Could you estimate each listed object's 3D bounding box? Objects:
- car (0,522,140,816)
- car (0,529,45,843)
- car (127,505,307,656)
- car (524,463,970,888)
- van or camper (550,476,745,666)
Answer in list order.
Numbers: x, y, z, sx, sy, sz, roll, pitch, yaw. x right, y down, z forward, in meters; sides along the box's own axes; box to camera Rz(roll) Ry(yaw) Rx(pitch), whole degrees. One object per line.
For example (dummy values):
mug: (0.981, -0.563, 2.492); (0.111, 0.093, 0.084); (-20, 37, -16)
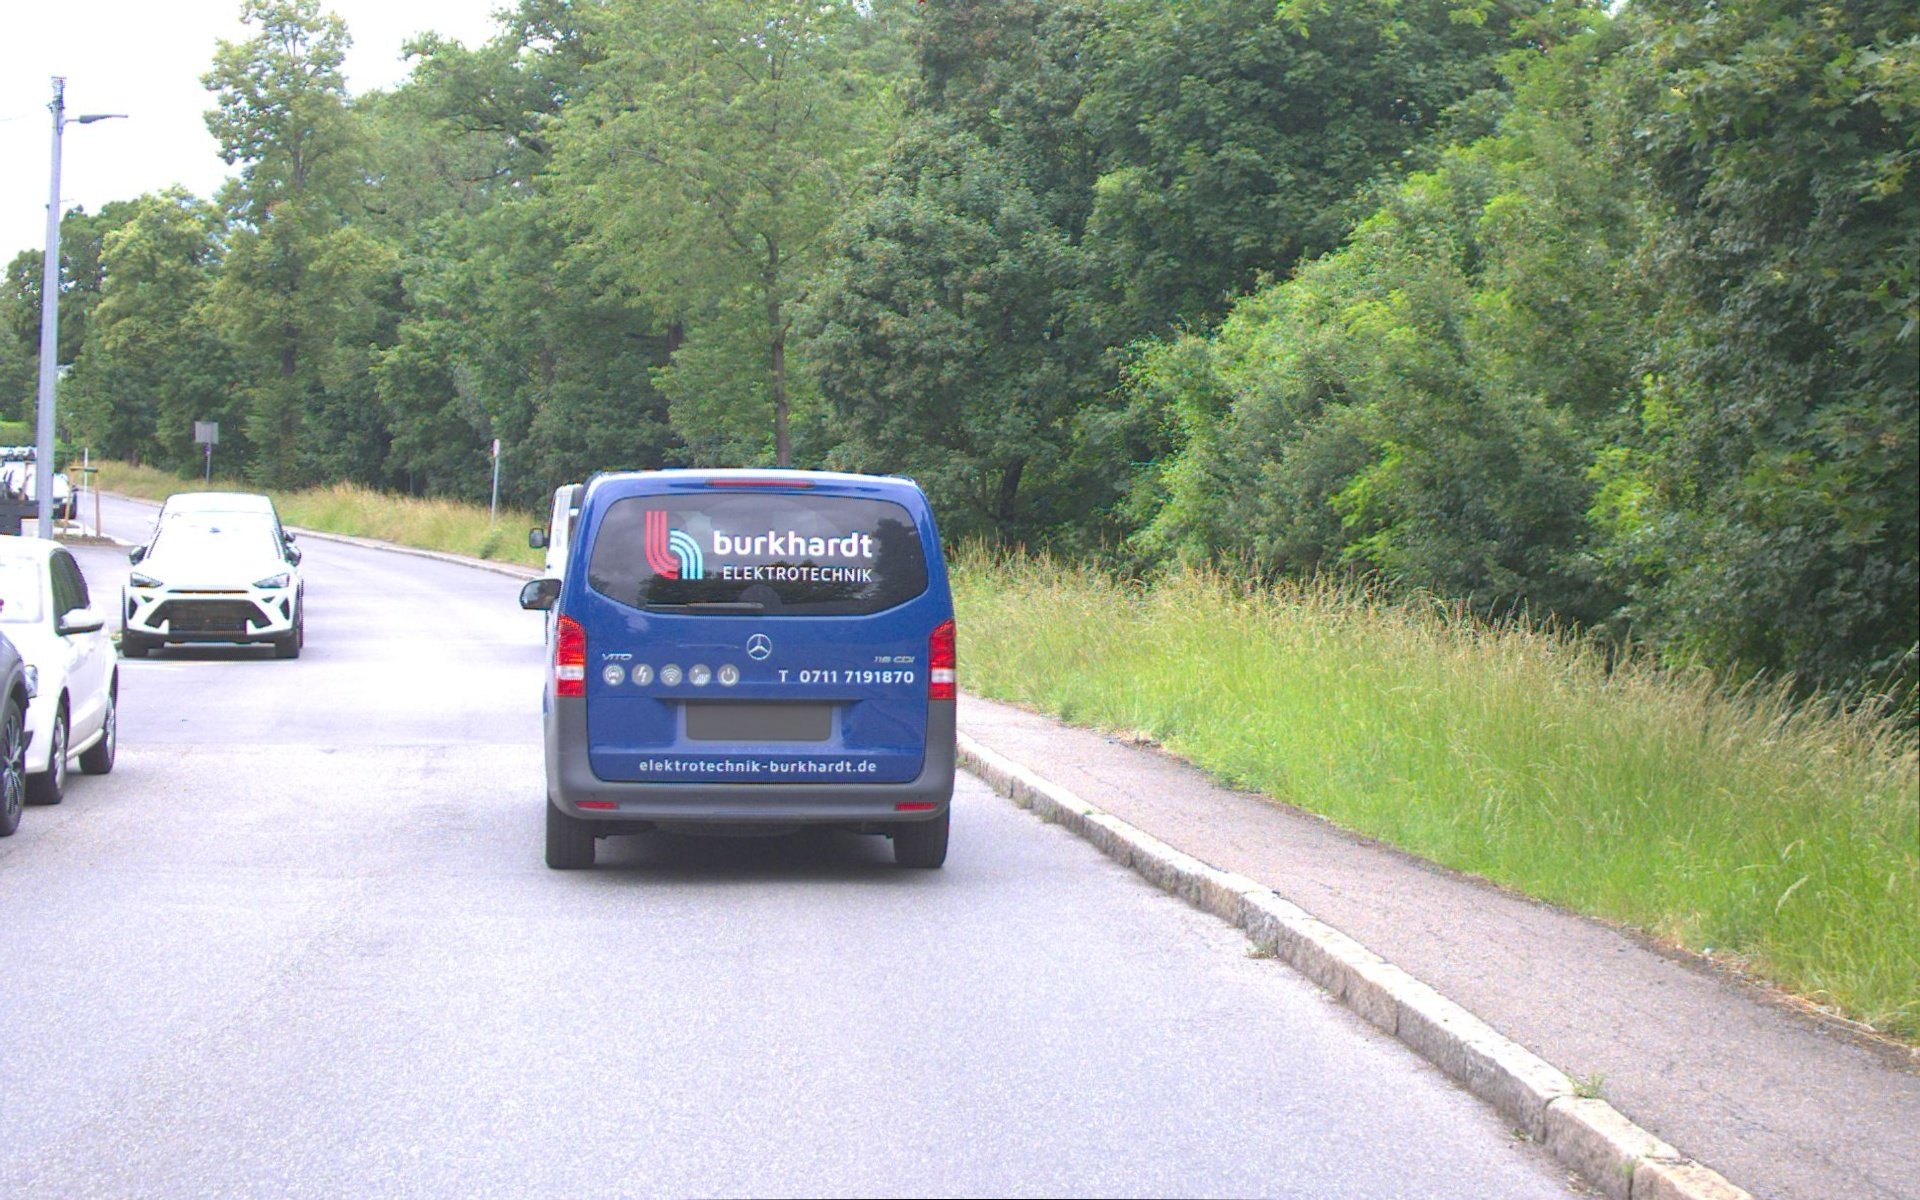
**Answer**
car: (-5.734, 0.289, 19.568); (1.622, 1.475, 3.929); (3, 1, -8)
car: (-5.300, 0.407, 15.048); (1.761, 1.475, 4.128); (2, 1, -5)
car: (-8.129, -0.245, 37.883); (1.724, 1.487, 4.415); (3, 1, -10)
car: (-1.190, 0.291, 17.119); (1.913, 1.831, 4.295); (1, 1, -7)
van or camper: (-3.557, -0.387, 38.386); (2.019, 1.950, 4.898); (0, 2, -7)
